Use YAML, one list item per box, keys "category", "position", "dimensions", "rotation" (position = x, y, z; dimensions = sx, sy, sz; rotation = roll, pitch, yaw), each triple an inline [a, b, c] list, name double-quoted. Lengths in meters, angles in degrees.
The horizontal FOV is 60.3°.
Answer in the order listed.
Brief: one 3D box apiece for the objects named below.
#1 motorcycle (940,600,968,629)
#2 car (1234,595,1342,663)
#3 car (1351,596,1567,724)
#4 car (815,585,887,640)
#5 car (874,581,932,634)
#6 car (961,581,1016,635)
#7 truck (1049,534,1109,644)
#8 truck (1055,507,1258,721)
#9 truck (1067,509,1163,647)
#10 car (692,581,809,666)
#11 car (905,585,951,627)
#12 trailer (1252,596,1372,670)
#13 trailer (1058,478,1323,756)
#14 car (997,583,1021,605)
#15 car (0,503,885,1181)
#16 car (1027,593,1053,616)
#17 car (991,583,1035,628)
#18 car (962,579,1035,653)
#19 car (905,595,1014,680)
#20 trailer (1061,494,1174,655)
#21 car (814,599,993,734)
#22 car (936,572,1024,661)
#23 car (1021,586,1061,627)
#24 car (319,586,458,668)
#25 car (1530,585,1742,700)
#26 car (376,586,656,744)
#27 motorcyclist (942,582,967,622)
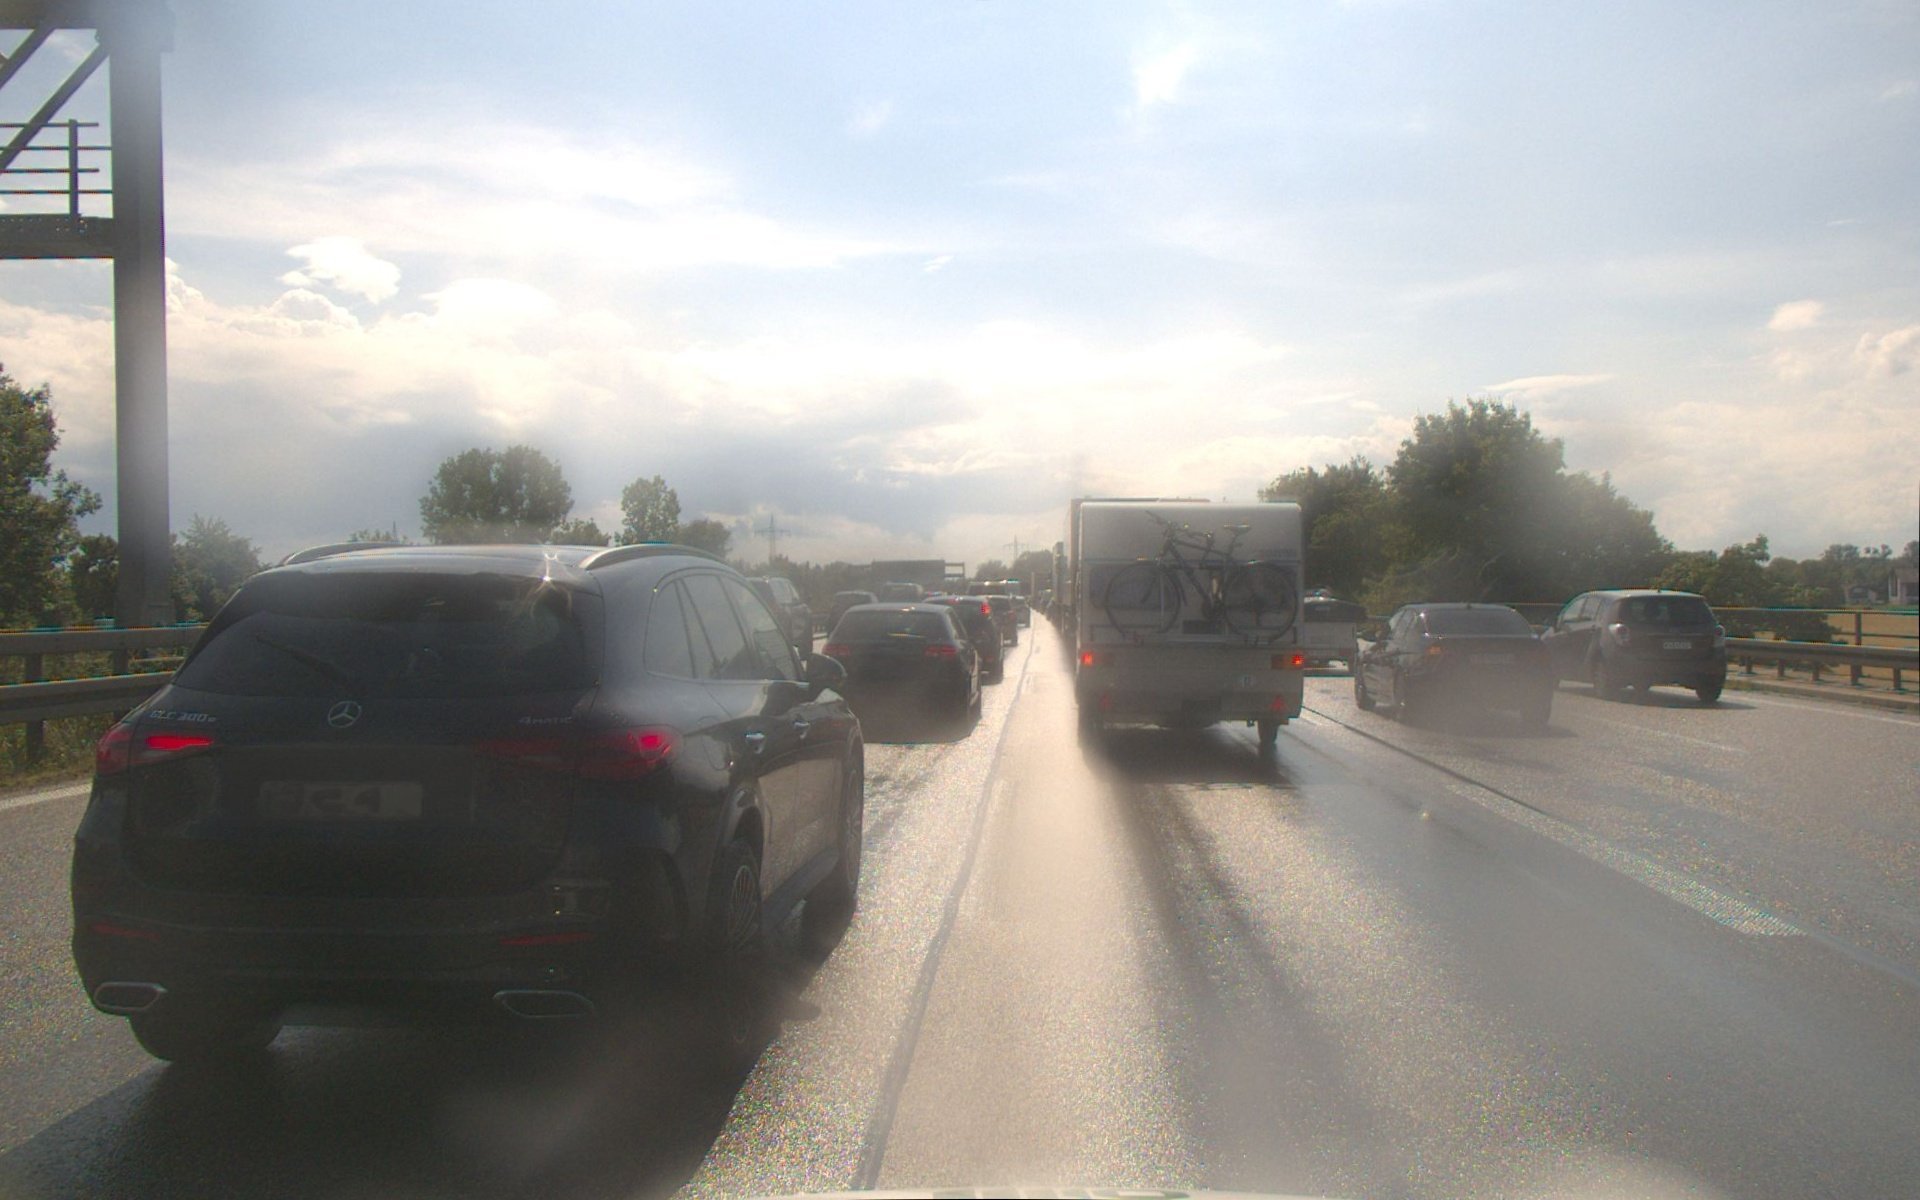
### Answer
- category: "motorcycle"
  position: [-0.253, 0.627, 74.072]
  dimensions: [1.051, 1.293, 2.691]
  rotation: [0, 0, 3]
- category: "car"
  position: [7.434, 0.625, 37.898]
  dimensions: [1.816, 1.467, 4.259]
  rotation: [0, 0, 3]
- category: "car"
  position: [6.095, 0.673, 20.636]
  dimensions: [1.704, 1.445, 3.837]
  rotation: [0, 0, 3]
- category: "car"
  position: [-3.716, 0.423, 56.878]
  dimensions: [1.952, 1.803, 4.002]
  rotation: [0, 0, 3]
- category: "car"
  position: [-2.392, 0.318, 70.228]
  dimensions: [1.952, 2.048, 4.002]
  rotation: [4, 0, 3]
- category: "car"
  position: [1.143, 0.294, 64.541]
  dimensions: [1.952, 2.049, 4.002]
  rotation: [0, 0, 3]
- category: "truck"
  position: [5.575, -0.508, 78.220]
  dimensions: [2.450, 4.914, 7.544]
  rotation: [1, 0, 2]
- category: "truck"
  position: [2.505, 0.174, 22.595]
  dimensions: [2.324, 2.520, 5.758]
  rotation: [1, 0, 3]
- category: "truck"
  position: [4.997, -0.682, 53.591]
  dimensions: [2.932, 4.239, 5.243]
  rotation: [0, 0, 5]
- category: "car"
  position: [-4.555, 0.487, 36.453]
  dimensions: [1.952, 1.750, 4.001]
  rotation: [1, 0, 1]
- category: "car"
  position: [-1.566, 0.289, 83.268]
  dimensions: [1.952, 2.049, 4.002]
  rotation: [-1, 0, 3]
- category: "trailer"
  position: [7.278, 0.644, 34.556]
  dimensions: [1.816, 1.467, 4.149]
  rotation: [0, 0, 3]
- category: "trailer"
  position: [2.307, 0.159, 18.476]
  dimensions: [2.324, 2.526, 6.525]
  rotation: [1, 0, 3]
- category: "car"
  position: [4.093, -0.480, 137.988]
  dimensions: [1.837, 1.791, 4.000]
  rotation: [1, 0, 0]
- category: "car"
  position: [-1.502, 0.608, 6.383]
  dimensions: [1.952, 1.690, 4.408]
  rotation: [0, 0, 4]
- category: "car"
  position: [6.449, 0.363, 133.707]
  dimensions: [1.837, 1.791, 4.000]
  rotation: [1, 0, 0]
- category: "car"
  position: [2.563, 0.239, 79.250]
  dimensions: [1.952, 2.049, 4.002]
  rotation: [-1, 0, 3]
- category: "car"
  position: [1.217, 0.459, 50.761]
  dimensions: [1.952, 2.048, 4.002]
  rotation: [4, 0, 3]
- category: "car"
  position: [0.056, 0.653, 30.375]
  dimensions: [1.768, 1.432, 4.001]
  rotation: [1, 0, 3]
- category: "trailer"
  position: [4.530, -0.677, 48.069]
  dimensions: [2.943, 4.239, 8.541]
  rotation: [0, 0, 5]
- category: "car"
  position: [-0.559, 0.707, 19.488]
  dimensions: [1.720, 1.411, 3.947]
  rotation: [0, 0, 4]
- category: "car"
  position: [0.543, 0.383, 40.796]
  dimensions: [1.952, 2.049, 4.002]
  rotation: [1, 0, 3]
- category: "car"
  position: [4.286, 0.337, 87.001]
  dimensions: [1.952, 2.049, 4.002]
  rotation: [2, 0, 3]
- category: "car"
  position: [-15.182, 0.677, 44.197]
  dimensions: [1.952, 2.049, 4.654]
  rotation: [0, 0, 2]
- category: "car"
  position: [10.471, 0.602, 25.967]
  dimensions: [1.751, 1.641, 4.387]
  rotation: [0, 0, 3]
- category: "car"
  position: [-4.726, 0.630, 18.267]
  dimensions: [1.720, 1.543, 4.211]
  rotation: [0, 0, 4]
- category: "motorcyclist"
  position: [-0.248, 0.089, 74.150]
  dimensions: [1.041, 1.748, 0.785]
  rotation: [0, 0, 3]
